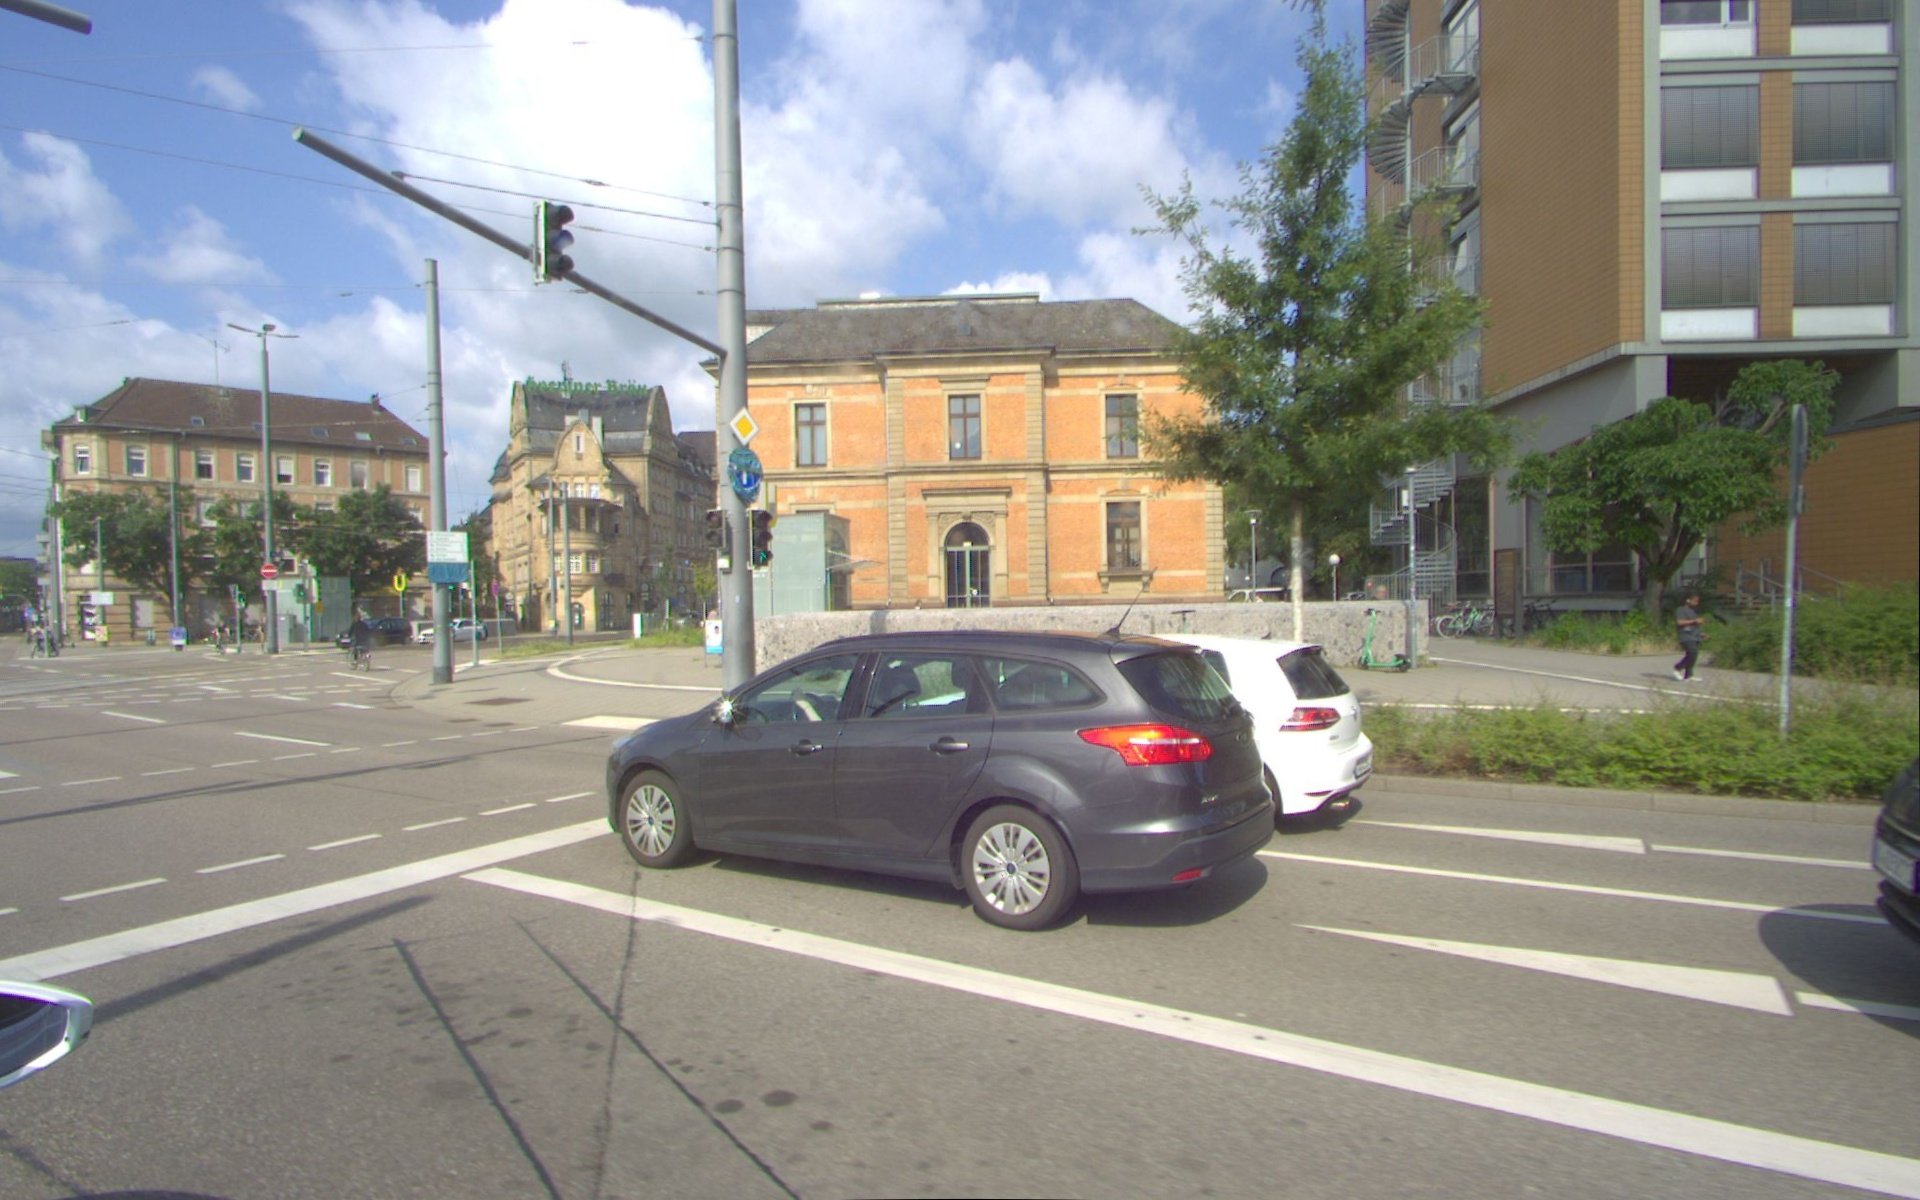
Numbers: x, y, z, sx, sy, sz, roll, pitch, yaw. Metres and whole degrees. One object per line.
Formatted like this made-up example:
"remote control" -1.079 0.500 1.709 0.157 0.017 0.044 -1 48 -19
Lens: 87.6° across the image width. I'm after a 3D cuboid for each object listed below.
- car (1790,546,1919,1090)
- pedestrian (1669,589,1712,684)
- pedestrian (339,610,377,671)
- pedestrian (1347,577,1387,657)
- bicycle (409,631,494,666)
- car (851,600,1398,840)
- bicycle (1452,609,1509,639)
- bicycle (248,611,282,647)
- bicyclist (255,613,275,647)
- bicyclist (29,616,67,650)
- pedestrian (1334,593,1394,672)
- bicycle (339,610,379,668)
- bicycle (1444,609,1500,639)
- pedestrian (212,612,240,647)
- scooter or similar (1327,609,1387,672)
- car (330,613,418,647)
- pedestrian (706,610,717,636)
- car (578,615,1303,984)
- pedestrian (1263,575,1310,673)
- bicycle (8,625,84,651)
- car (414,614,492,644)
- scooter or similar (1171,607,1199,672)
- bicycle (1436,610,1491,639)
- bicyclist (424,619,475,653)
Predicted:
"car" 5.343 0.666 2.598 4.614 1.689 1.991 -1 -2 31
"pedestrian" 12.129 0.600 16.635 0.573 1.541 0.476 0 2 36
"pedestrian" -18.719 1.245 31.153 0.982 1.865 0.990 1 -1 -32
"pedestrian" 8.471 0.335 20.817 0.752 1.610 0.770 0 4 24
"bicycle" -16.315 1.560 32.075 3.065 1.040 0.991 -3 -4 32
"car" 1.264 0.831 8.400 4.172 1.464 1.677 2 -2 33
"bicycle" 16.205 0.744 31.193 1.520 0.917 0.459 -1 0 5
"bicycle" -35.011 1.466 50.426 1.612 1.801 0.728 -1 0 29
"bicyclist" -34.993 1.530 50.411 0.646 1.693 0.571 -1 0 29
"bicyclist" -45.551 1.645 50.003 0.773 1.680 1.194 0 1 24
"pedestrian" 8.686 0.672 21.558 0.753 1.610 0.934 -3 4 -27
"bicycle" -18.755 1.198 31.226 0.995 1.747 2.455 1 -2 -32
"bicycle" 16.260 0.765 31.834 1.520 0.917 0.459 -1 0 5
"pedestrian" -38.614 1.546 52.675 0.871 1.833 0.866 0 -1 20
"scooter or similar" 7.624 0.762 19.278 0.396 1.146 1.184 -1 1 -19
"car" -31.589 1.651 54.148 1.961 1.761 4.343 0 -2 5
"pedestrian" -14.654 1.362 59.039 0.497 1.525 0.499 -1 0 -2
"car" -0.246 0.888 6.163 4.193 1.549 1.764 0 0 31
"pedestrian" 7.004 0.502 21.508 0.792 2.041 0.724 -2 2 9
"bicycle" -45.616 1.892 49.994 0.886 1.186 2.672 0 0 24
"car" -30.592 1.711 60.574 1.961 1.617 4.683 0 1 6
"scooter or similar" 4.413 0.756 19.696 0.395 1.213 1.186 0 1 6
"bicycle" 16.323 0.785 32.464 1.520 0.917 0.459 -1 0 5
"bicyclist" -16.357 1.178 32.114 1.198 1.040 0.989 -3 -4 32
